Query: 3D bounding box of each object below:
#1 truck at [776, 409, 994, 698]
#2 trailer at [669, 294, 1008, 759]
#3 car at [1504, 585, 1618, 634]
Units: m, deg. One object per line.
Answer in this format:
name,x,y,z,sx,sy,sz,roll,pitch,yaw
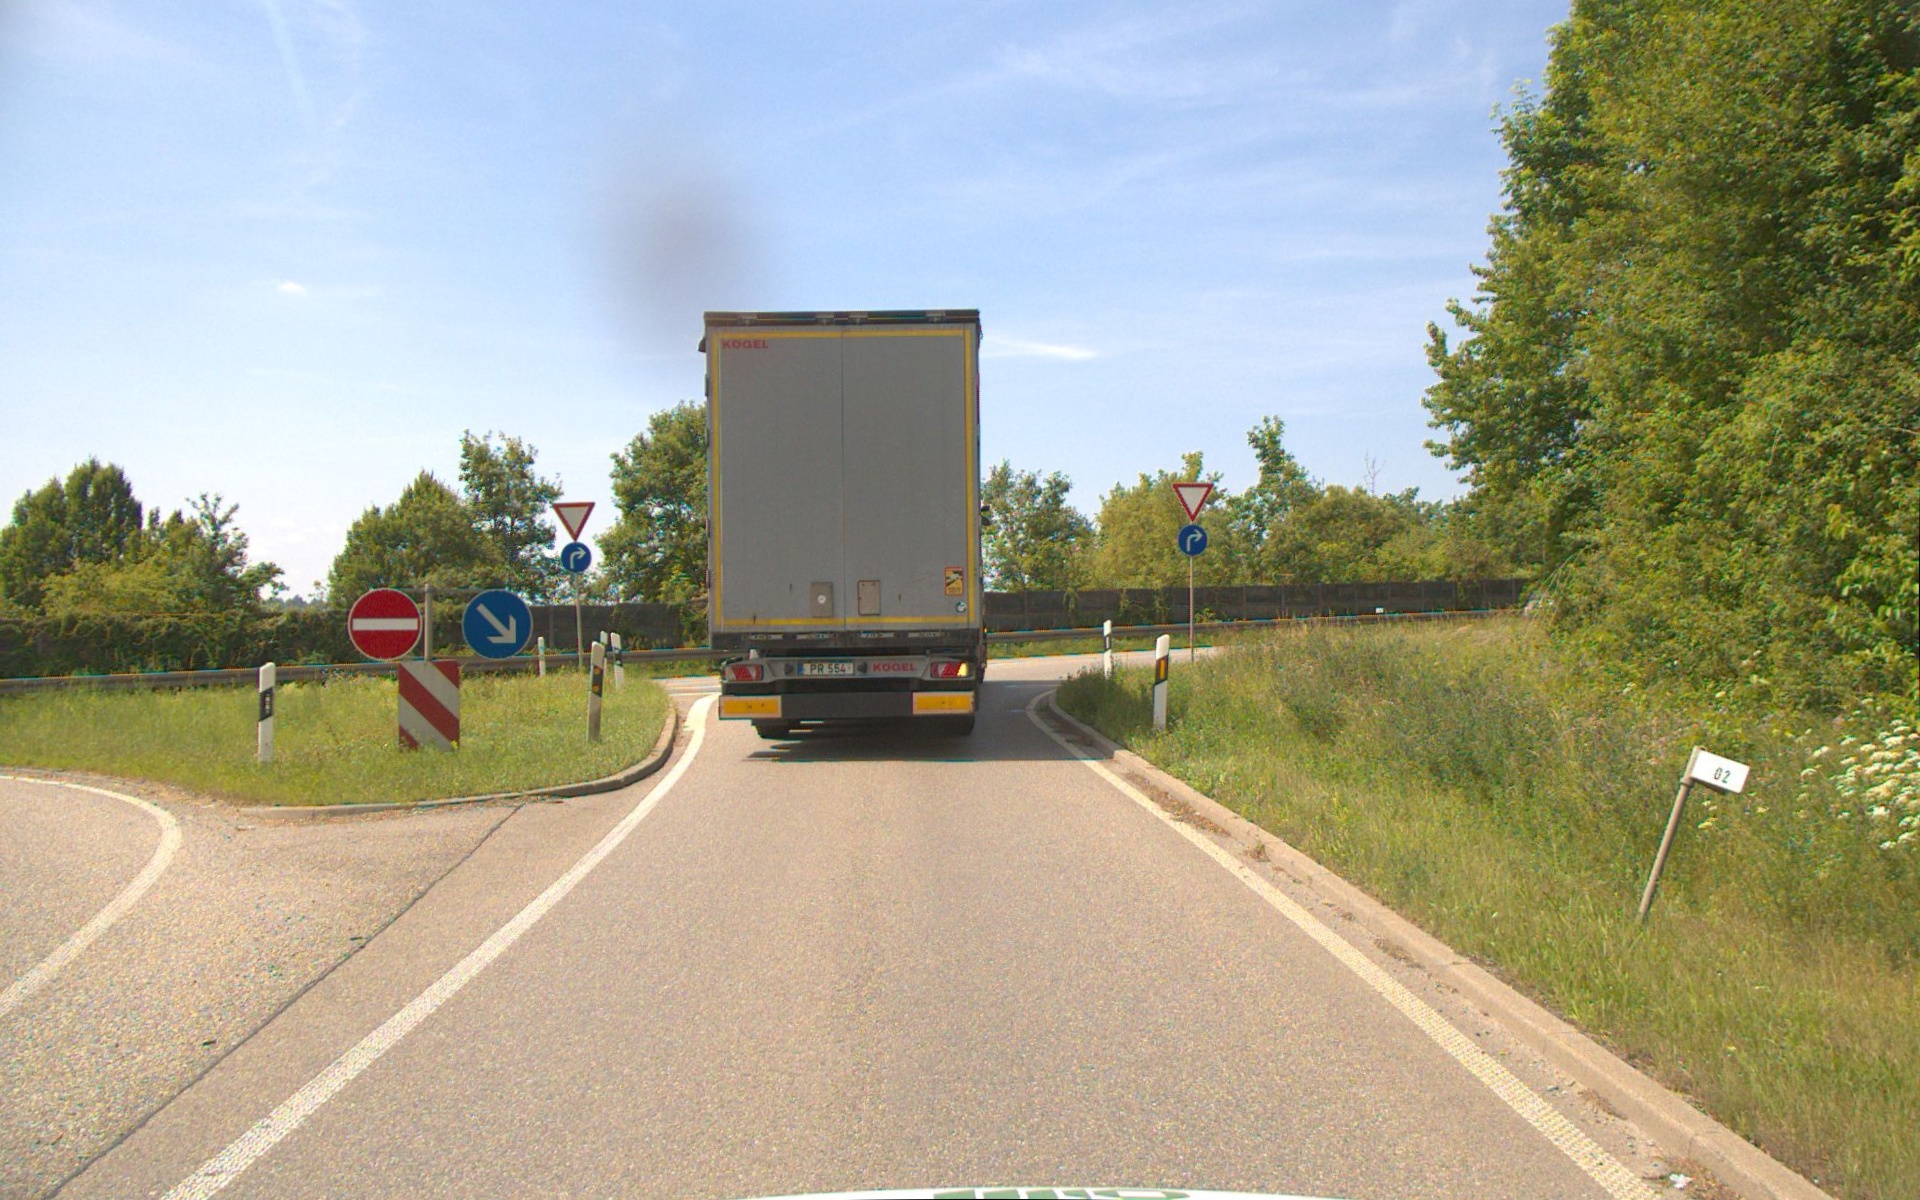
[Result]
truck,-1.062,-0.644,28.417,3.087,4.299,7.123,-1,-1,2
trailer,-1.166,-0.615,21.450,2.965,4.105,13.349,-1,0,-1
car,19.670,0.295,54.083,3.959,1.512,1.649,-1,0,-38
